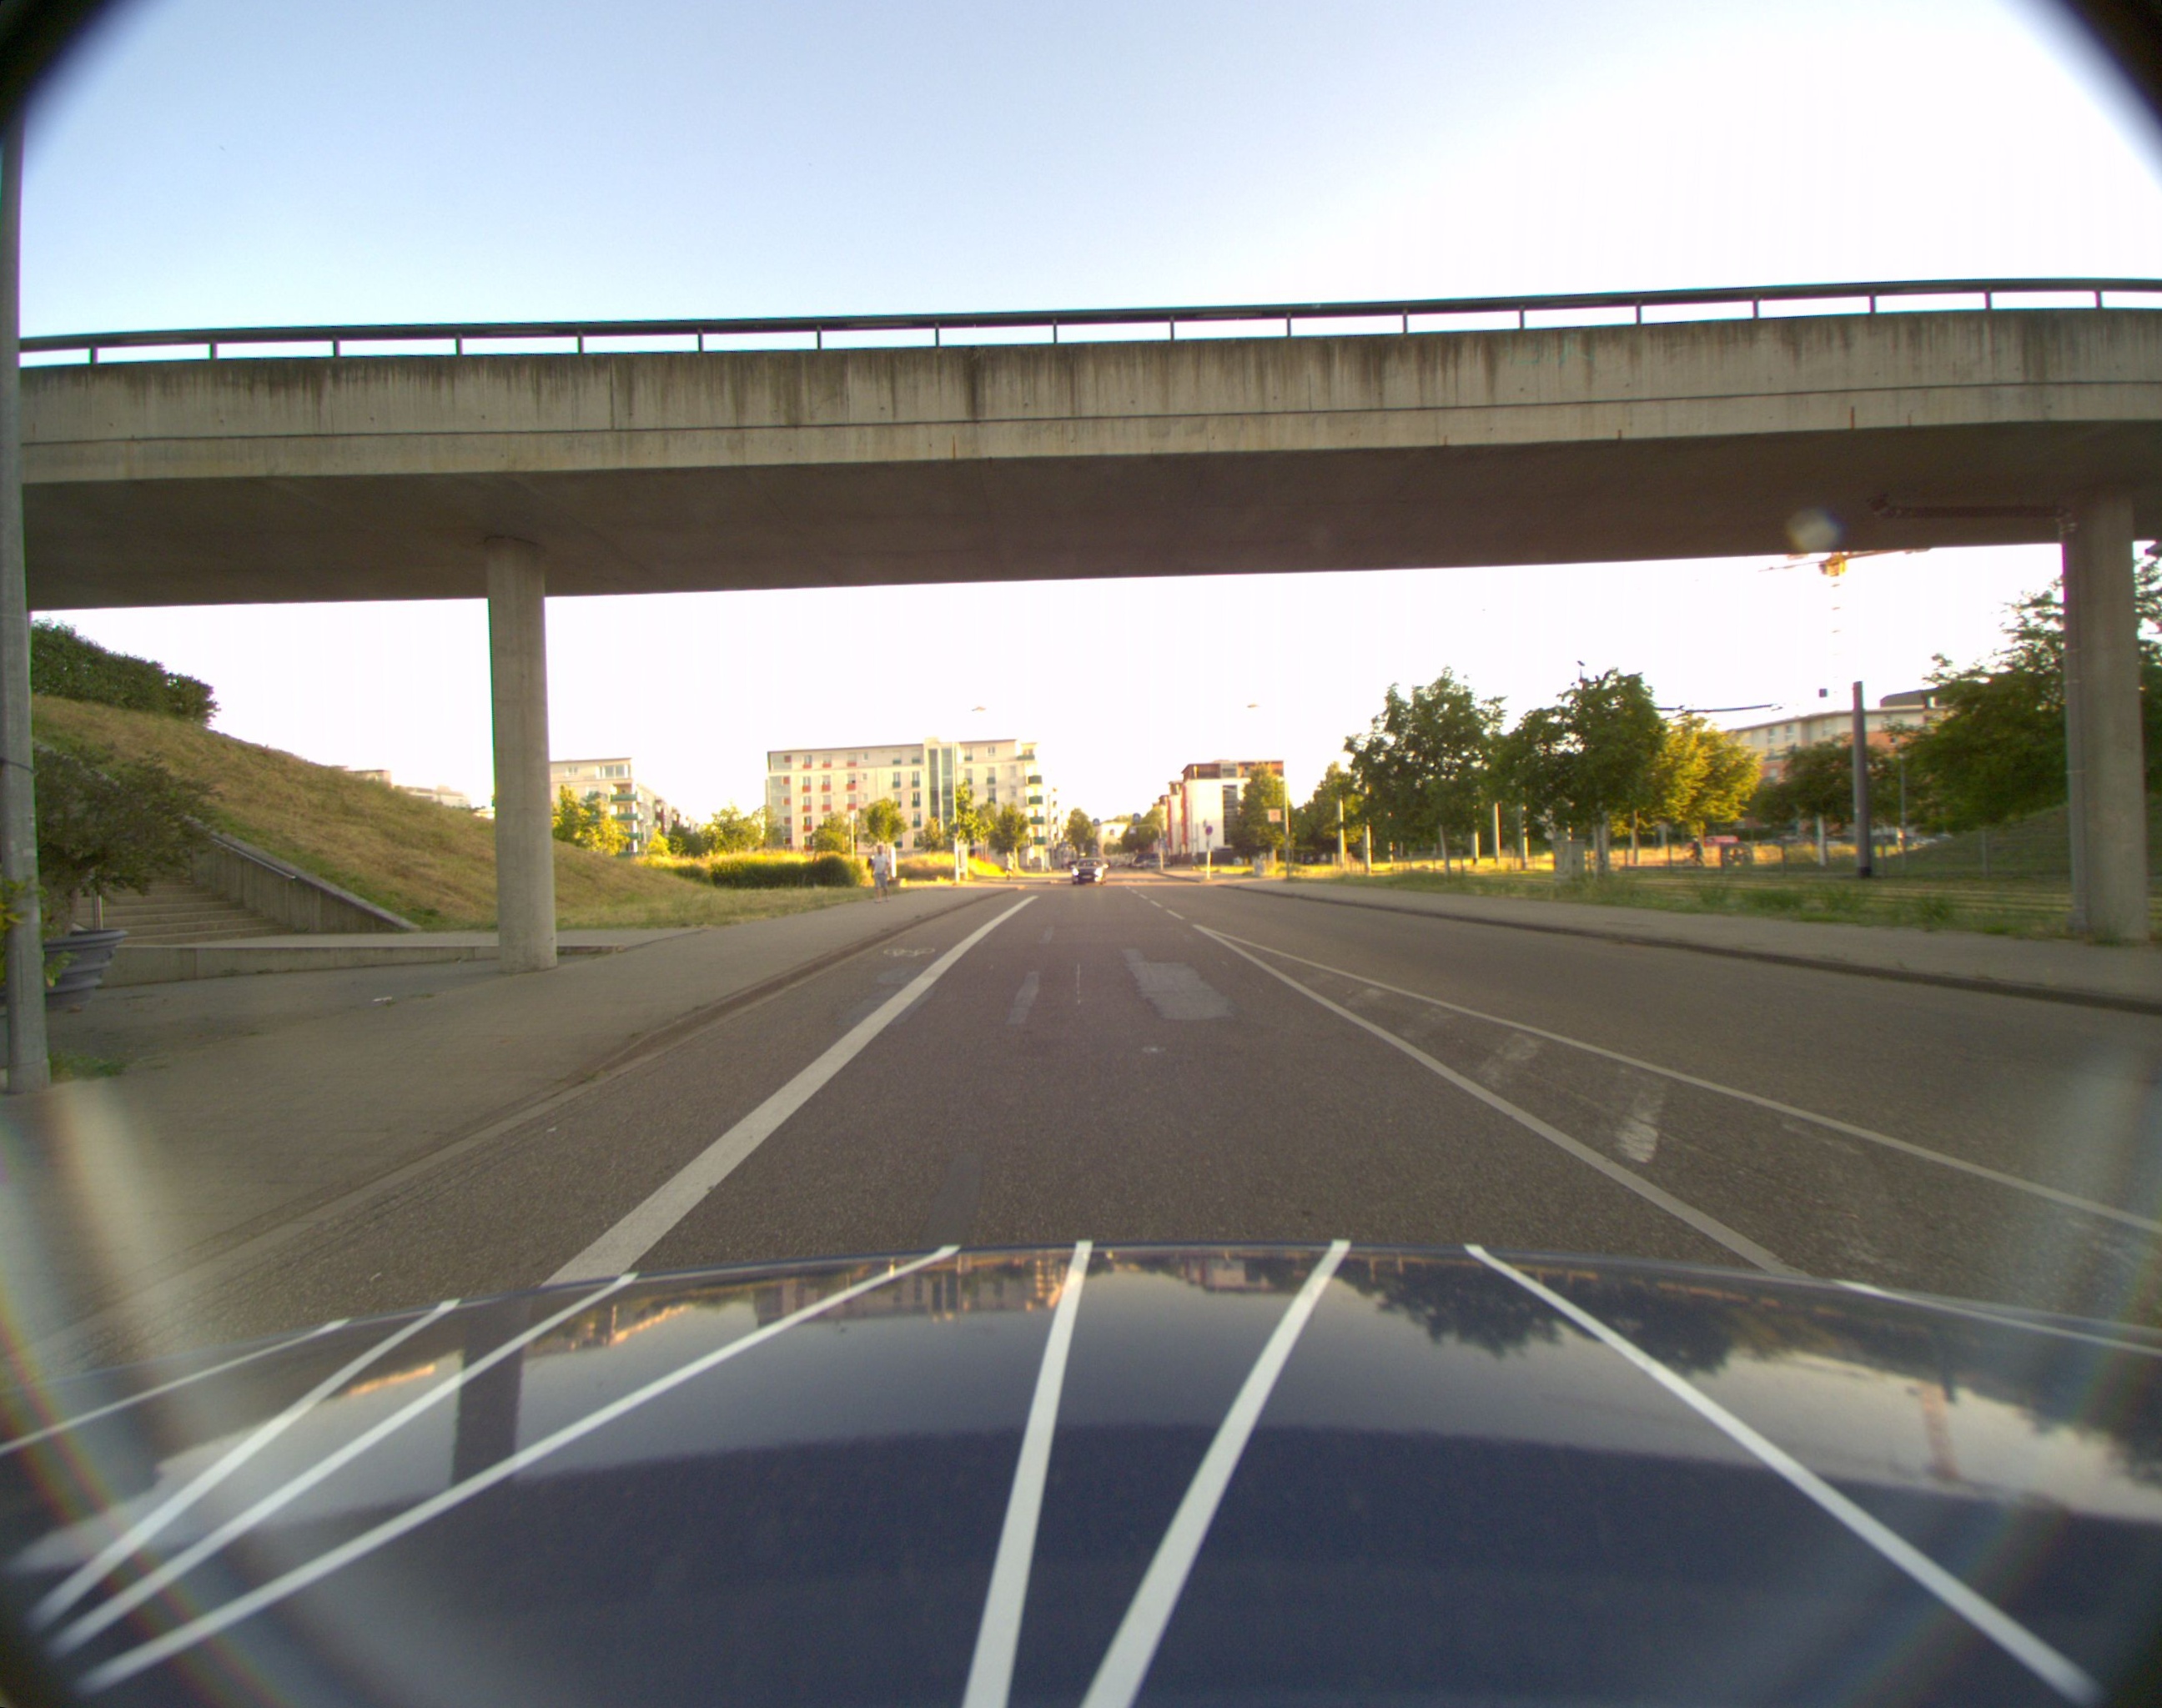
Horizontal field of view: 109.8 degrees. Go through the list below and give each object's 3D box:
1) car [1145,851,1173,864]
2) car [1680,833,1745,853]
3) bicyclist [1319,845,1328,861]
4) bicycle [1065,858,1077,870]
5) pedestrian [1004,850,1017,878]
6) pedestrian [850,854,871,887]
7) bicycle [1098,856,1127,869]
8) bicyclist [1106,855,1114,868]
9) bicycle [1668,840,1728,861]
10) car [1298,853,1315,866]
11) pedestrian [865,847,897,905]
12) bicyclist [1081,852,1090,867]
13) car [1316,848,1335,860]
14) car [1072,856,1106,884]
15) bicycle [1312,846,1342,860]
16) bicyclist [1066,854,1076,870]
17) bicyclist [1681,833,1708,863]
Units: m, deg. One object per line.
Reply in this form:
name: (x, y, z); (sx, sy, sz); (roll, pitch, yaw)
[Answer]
car: (11.642, 0.543, 113.769); (3.996, 1.718, 2.000); (-2, 0, 2)
car: (71.997, -1.232, 86.729); (5.520, 2.002, 2.001); (-2, 0, 5)
bicyclist: (28.819, -0.081, 90.279); (1.032, 1.865, 0.885); (-1, 1, 19)
bicycle: (-1.041, 1.043, 78.588); (0.900, 1.142, 3.497); (-2, 0, -5)
pedestrian: (-4.313, 0.605, 46.674); (0.737, 1.714, 0.532); (0, 0, 1)
pedestrian: (-10.844, 0.812, 37.407); (0.737, 1.620, 0.859); (0, 0, 2)
bicycle: (4.147, 1.143, 100.160); (3.536, 1.560, 1.019); (-2, 0, 13)
bicyclist: (3.818, 0.999, 100.098); (0.918, 1.653, 0.859); (-2, 0, 11)
bicycle: (33.714, -0.186, 41.529); (2.842, 1.002, 0.655); (-2, 0, -3)
car: (28.843, 0.684, 97.207); (1.942, 1.521, 4.004); (-2, 0, 14)
pedestrian: (-6.087, 0.654, 23.150); (0.737, 1.714, 0.906); (0, 0, 1)
bicyclist: (0.511, 0.590, 85.103); (0.698, 1.630, 0.850); (-2, 0, -20)
car: (31.128, -0.006, 96.778); (1.942, 1.521, 4.004); (-2, 0, 14)
car: (0.468, 0.856, 42.366); (1.739, 1.455, 4.000); (-2, 0, 1)
bicycle: (29.180, -0.138, 90.187); (3.314, 1.483, 0.889); (-2, 0, 20)
bicyclist: (-1.047, 0.844, 78.674); (0.932, 1.585, 1.067); (-2, 0, -6)
bicyclist: (33.646, -0.321, 41.675); (0.910, 1.622, 0.717); (-2, 0, -5)
